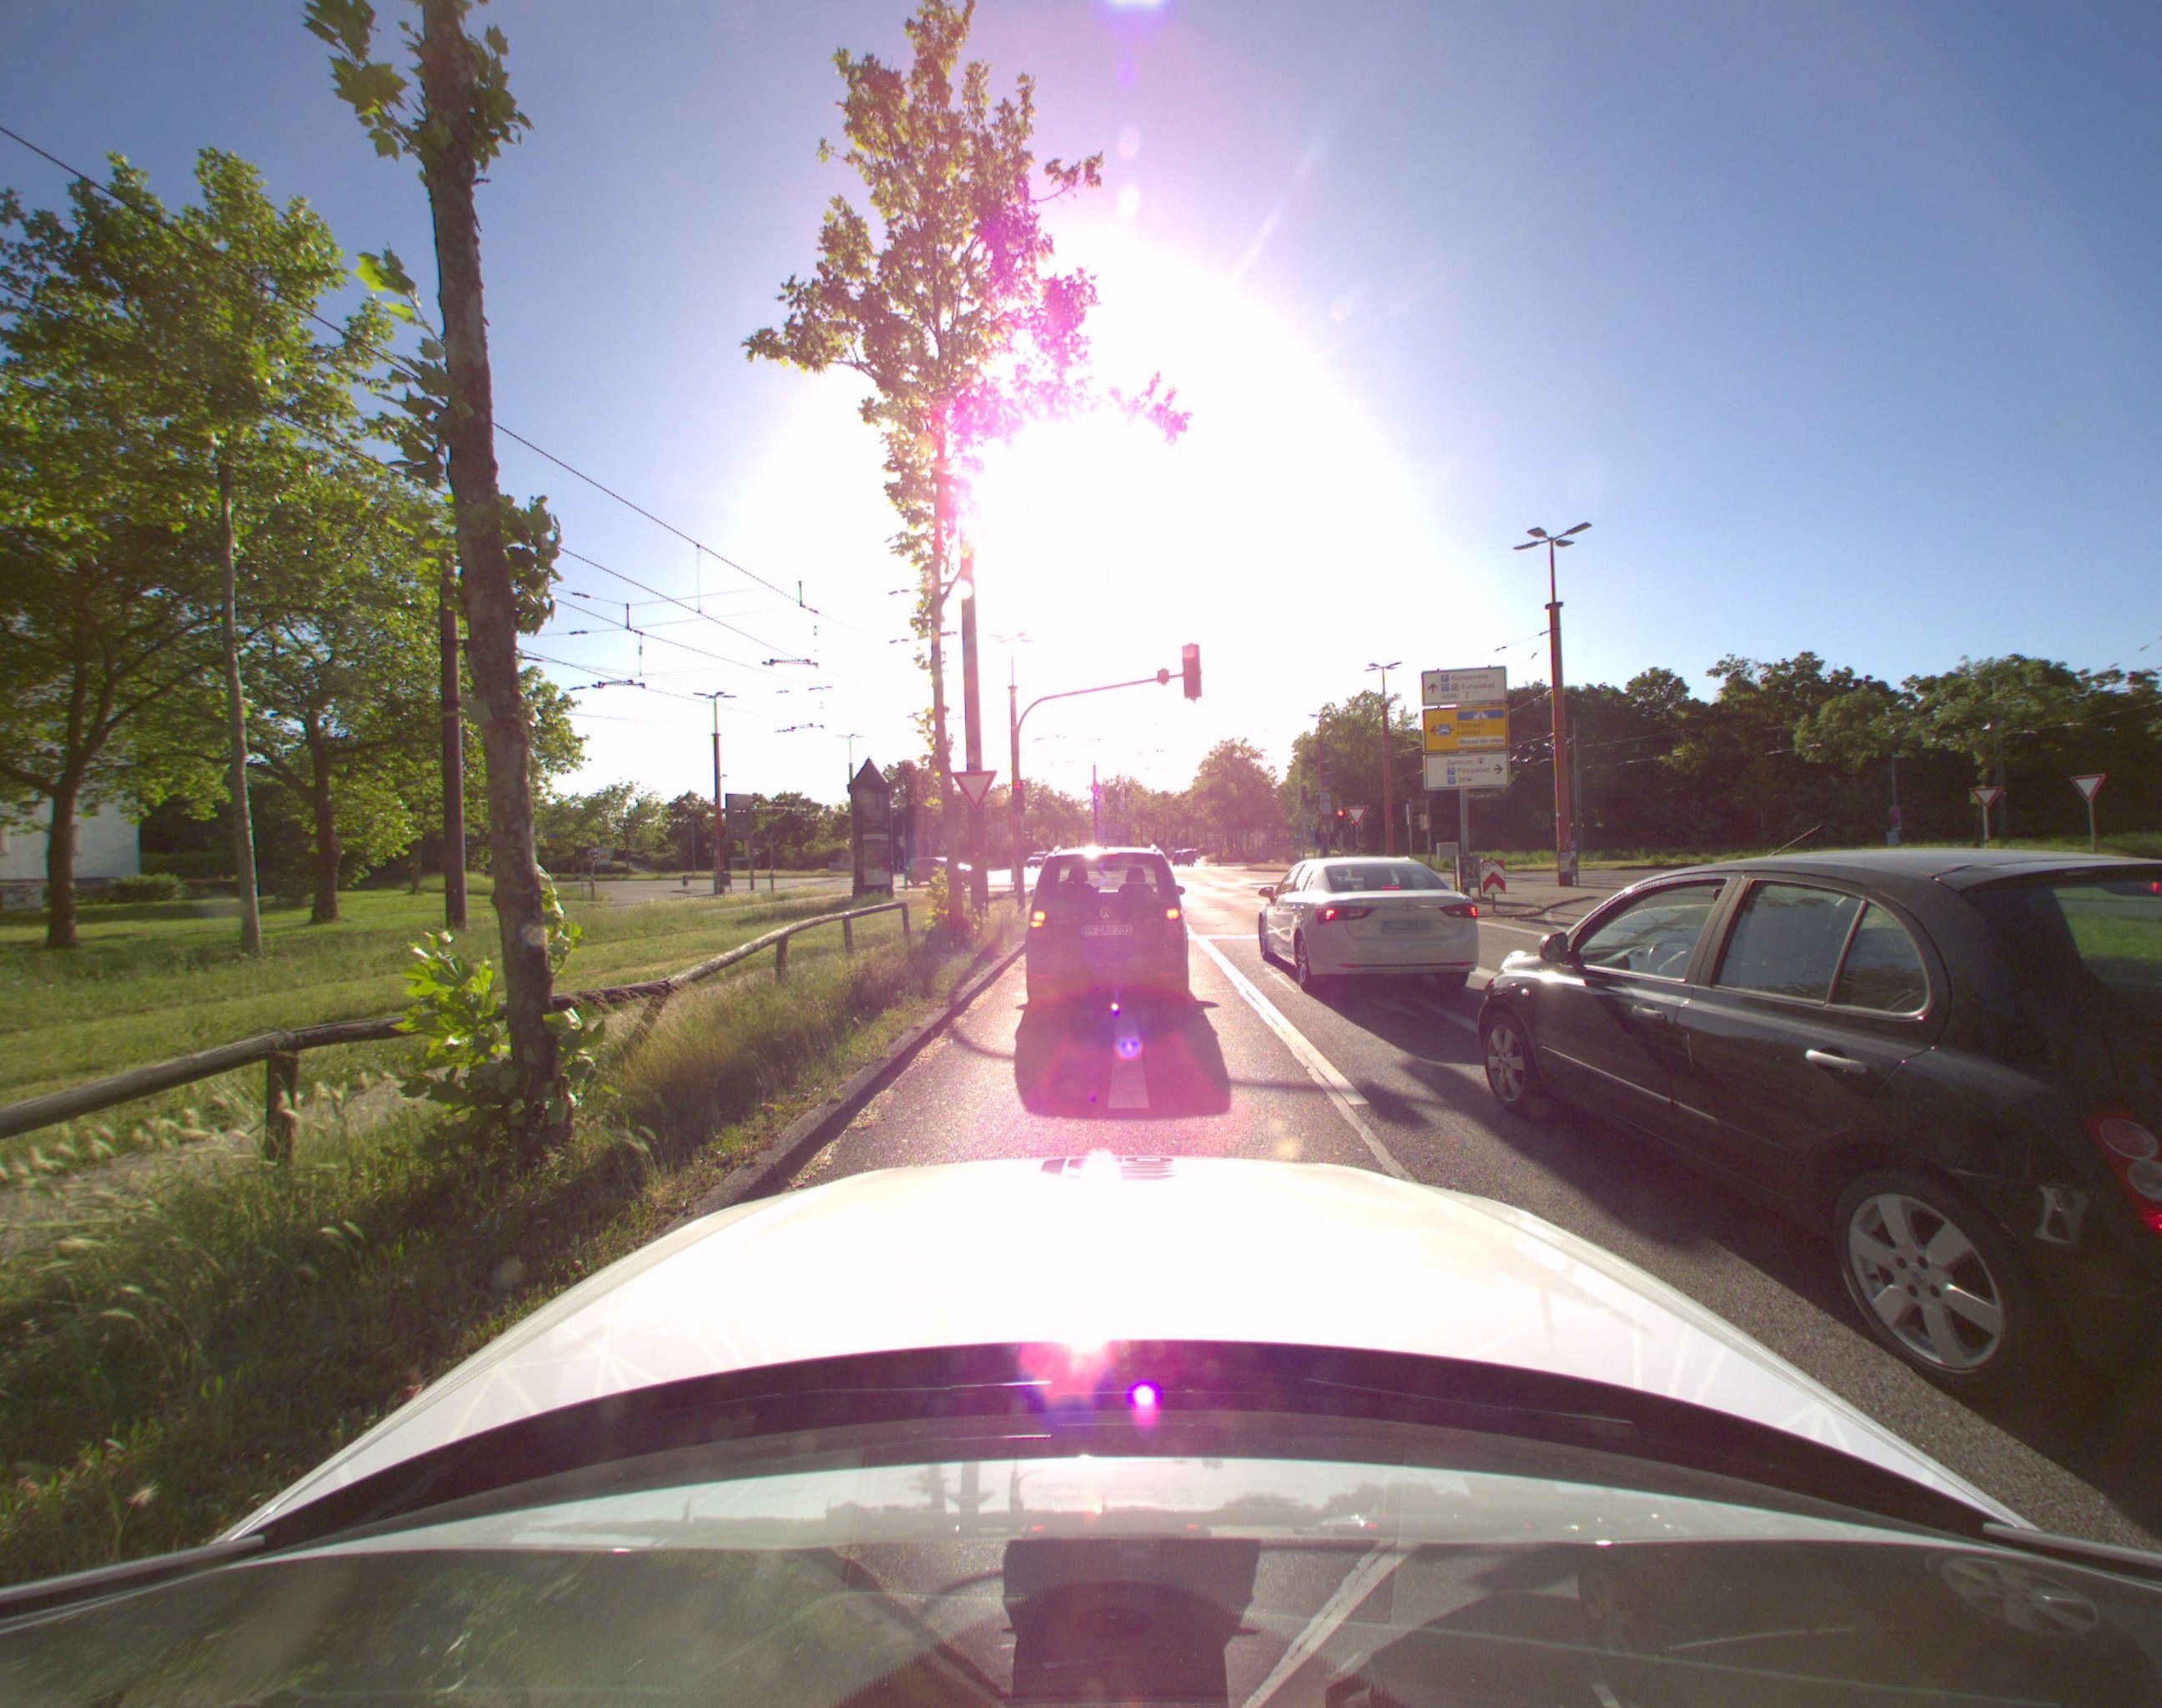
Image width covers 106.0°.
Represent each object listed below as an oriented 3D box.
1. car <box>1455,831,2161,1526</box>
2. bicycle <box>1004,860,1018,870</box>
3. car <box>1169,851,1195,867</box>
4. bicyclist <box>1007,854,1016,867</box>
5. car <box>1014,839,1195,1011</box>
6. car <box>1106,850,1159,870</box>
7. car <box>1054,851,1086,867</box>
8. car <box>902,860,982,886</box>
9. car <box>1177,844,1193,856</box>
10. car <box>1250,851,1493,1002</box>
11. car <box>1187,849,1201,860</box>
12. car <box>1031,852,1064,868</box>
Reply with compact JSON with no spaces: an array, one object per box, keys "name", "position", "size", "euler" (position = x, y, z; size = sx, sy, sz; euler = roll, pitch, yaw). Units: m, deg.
[{"name":"car","position":[3.168,0.692,3.509],"size":[1.550,1.506,3.517],"euler":[-2,0,2]},{"name":"bicycle","position":[-8.145,1.230,94.789],"size":[0.728,1.090,1.971],"euler":[-2,0,21]},{"name":"car","position":[9.837,0.461,78.982],"size":[1.893,1.464,4.073],"euler":[-2,0,16]},{"name":"bicyclist","position":[-8.114,0.764,95.010],"size":[0.686,1.457,0.879],"euler":[-2,-1,20]},{"name":"car","position":[0.296,0.695,9.985],"size":[1.731,1.641,4.002],"euler":[-2,0,2]},{"name":"car","position":[4.245,0.475,66.832],"size":[4.264,1.464,1.891],"euler":[-1,0,-43]},{"name":"car","position":[-1.185,0.513,91.746],"size":[1.977,1.684,4.853],"euler":[-2,0,20]},{"name":"car","position":[-8.696,1.184,50.847],"size":[4.589,1.543,2.012],"euler":[-2,0,26]},{"name":"car","position":[13.086,-0.486,102.364],"size":[1.898,1.464,4.381],"euler":[-1,1,6]},{"name":"car","position":[3.297,0.718,10.113],"size":[1.708,1.454,4.147],"euler":[-2,0,3]},{"name":"car","position":[16.610,0.082,119.593],"size":[1.896,1.464,4.235],"euler":[-2,0,10]},{"name":"car","position":[-3.797,0.641,93.494],"size":[1.977,1.684,4.853],"euler":[-2,0,20]}]
